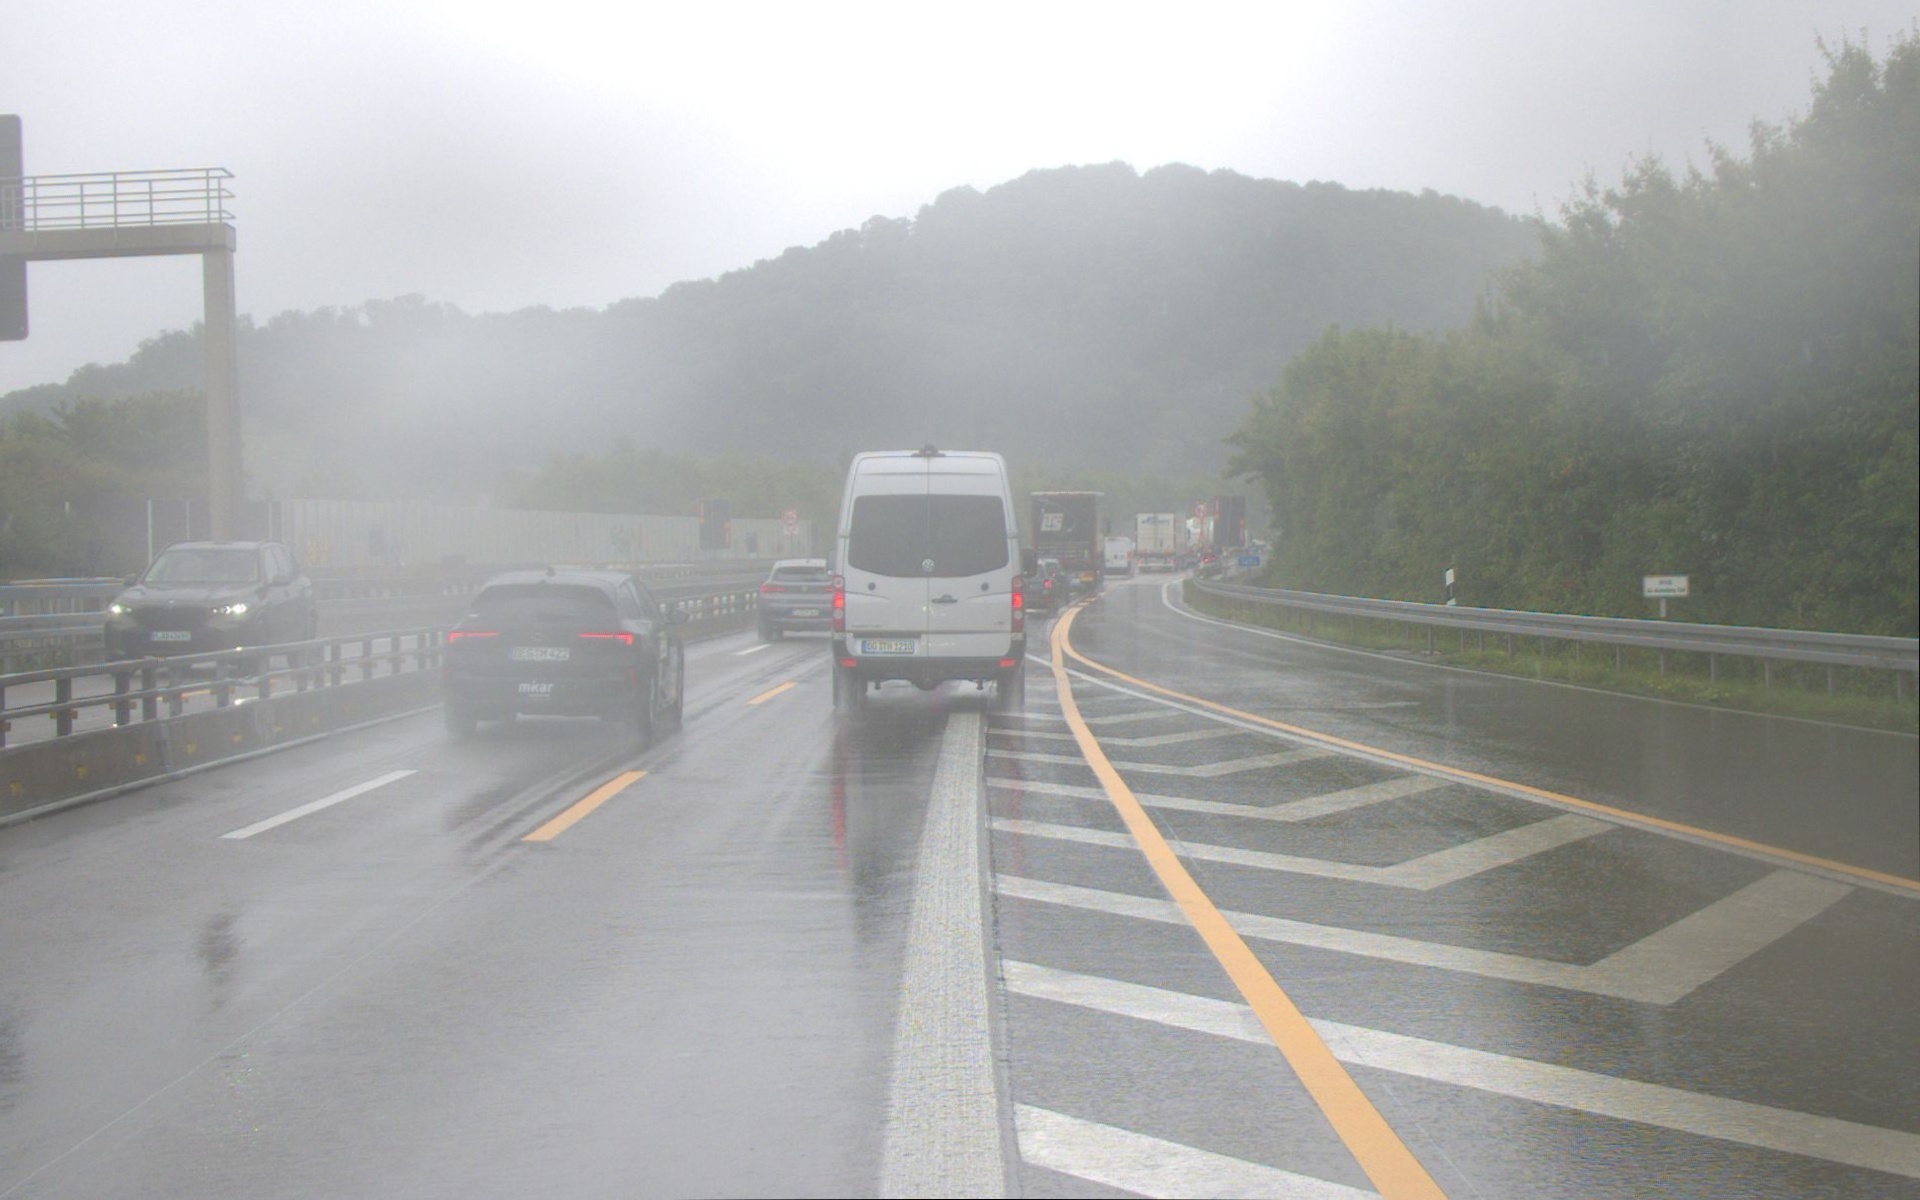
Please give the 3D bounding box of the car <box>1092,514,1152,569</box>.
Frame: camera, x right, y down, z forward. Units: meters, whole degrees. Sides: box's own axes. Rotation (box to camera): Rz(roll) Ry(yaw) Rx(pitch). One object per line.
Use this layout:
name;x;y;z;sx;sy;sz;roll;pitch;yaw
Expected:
car;8.777;-3.153;186.195;2.899;2.877;6.410;1;1;5

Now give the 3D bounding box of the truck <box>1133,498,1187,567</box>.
truck;13.231;-4.400;226.692;3.037;4.391;9.622;1;1;6

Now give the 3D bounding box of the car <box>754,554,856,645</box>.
car;-2.868;-0.037;64.208;1.707;1.622;4.000;1;1;0

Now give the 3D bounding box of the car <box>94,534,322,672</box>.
car;-9.904;0.010;45.677;1.951;1.711;5.103;1;1;-1

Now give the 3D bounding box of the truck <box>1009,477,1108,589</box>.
truck;4.103;-2.687;141.097;3.582;4.391;9.622;1;1;4

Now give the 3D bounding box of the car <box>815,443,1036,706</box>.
car;-0.368;-0.276;36.535;2.145;2.562;5.390;1;1;-1

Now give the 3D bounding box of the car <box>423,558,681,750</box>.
car;-3.523;0.426;30.313;1.946;1.556;4.000;1;1;-2

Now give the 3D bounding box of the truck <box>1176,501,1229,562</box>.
truck;18.306;-5.122;259.263;2.900;4.391;9.620;1;1;10

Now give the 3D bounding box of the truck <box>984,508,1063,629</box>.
truck;1.753;-0.859;93.213;1.993;3.098;8.498;1;1;1
